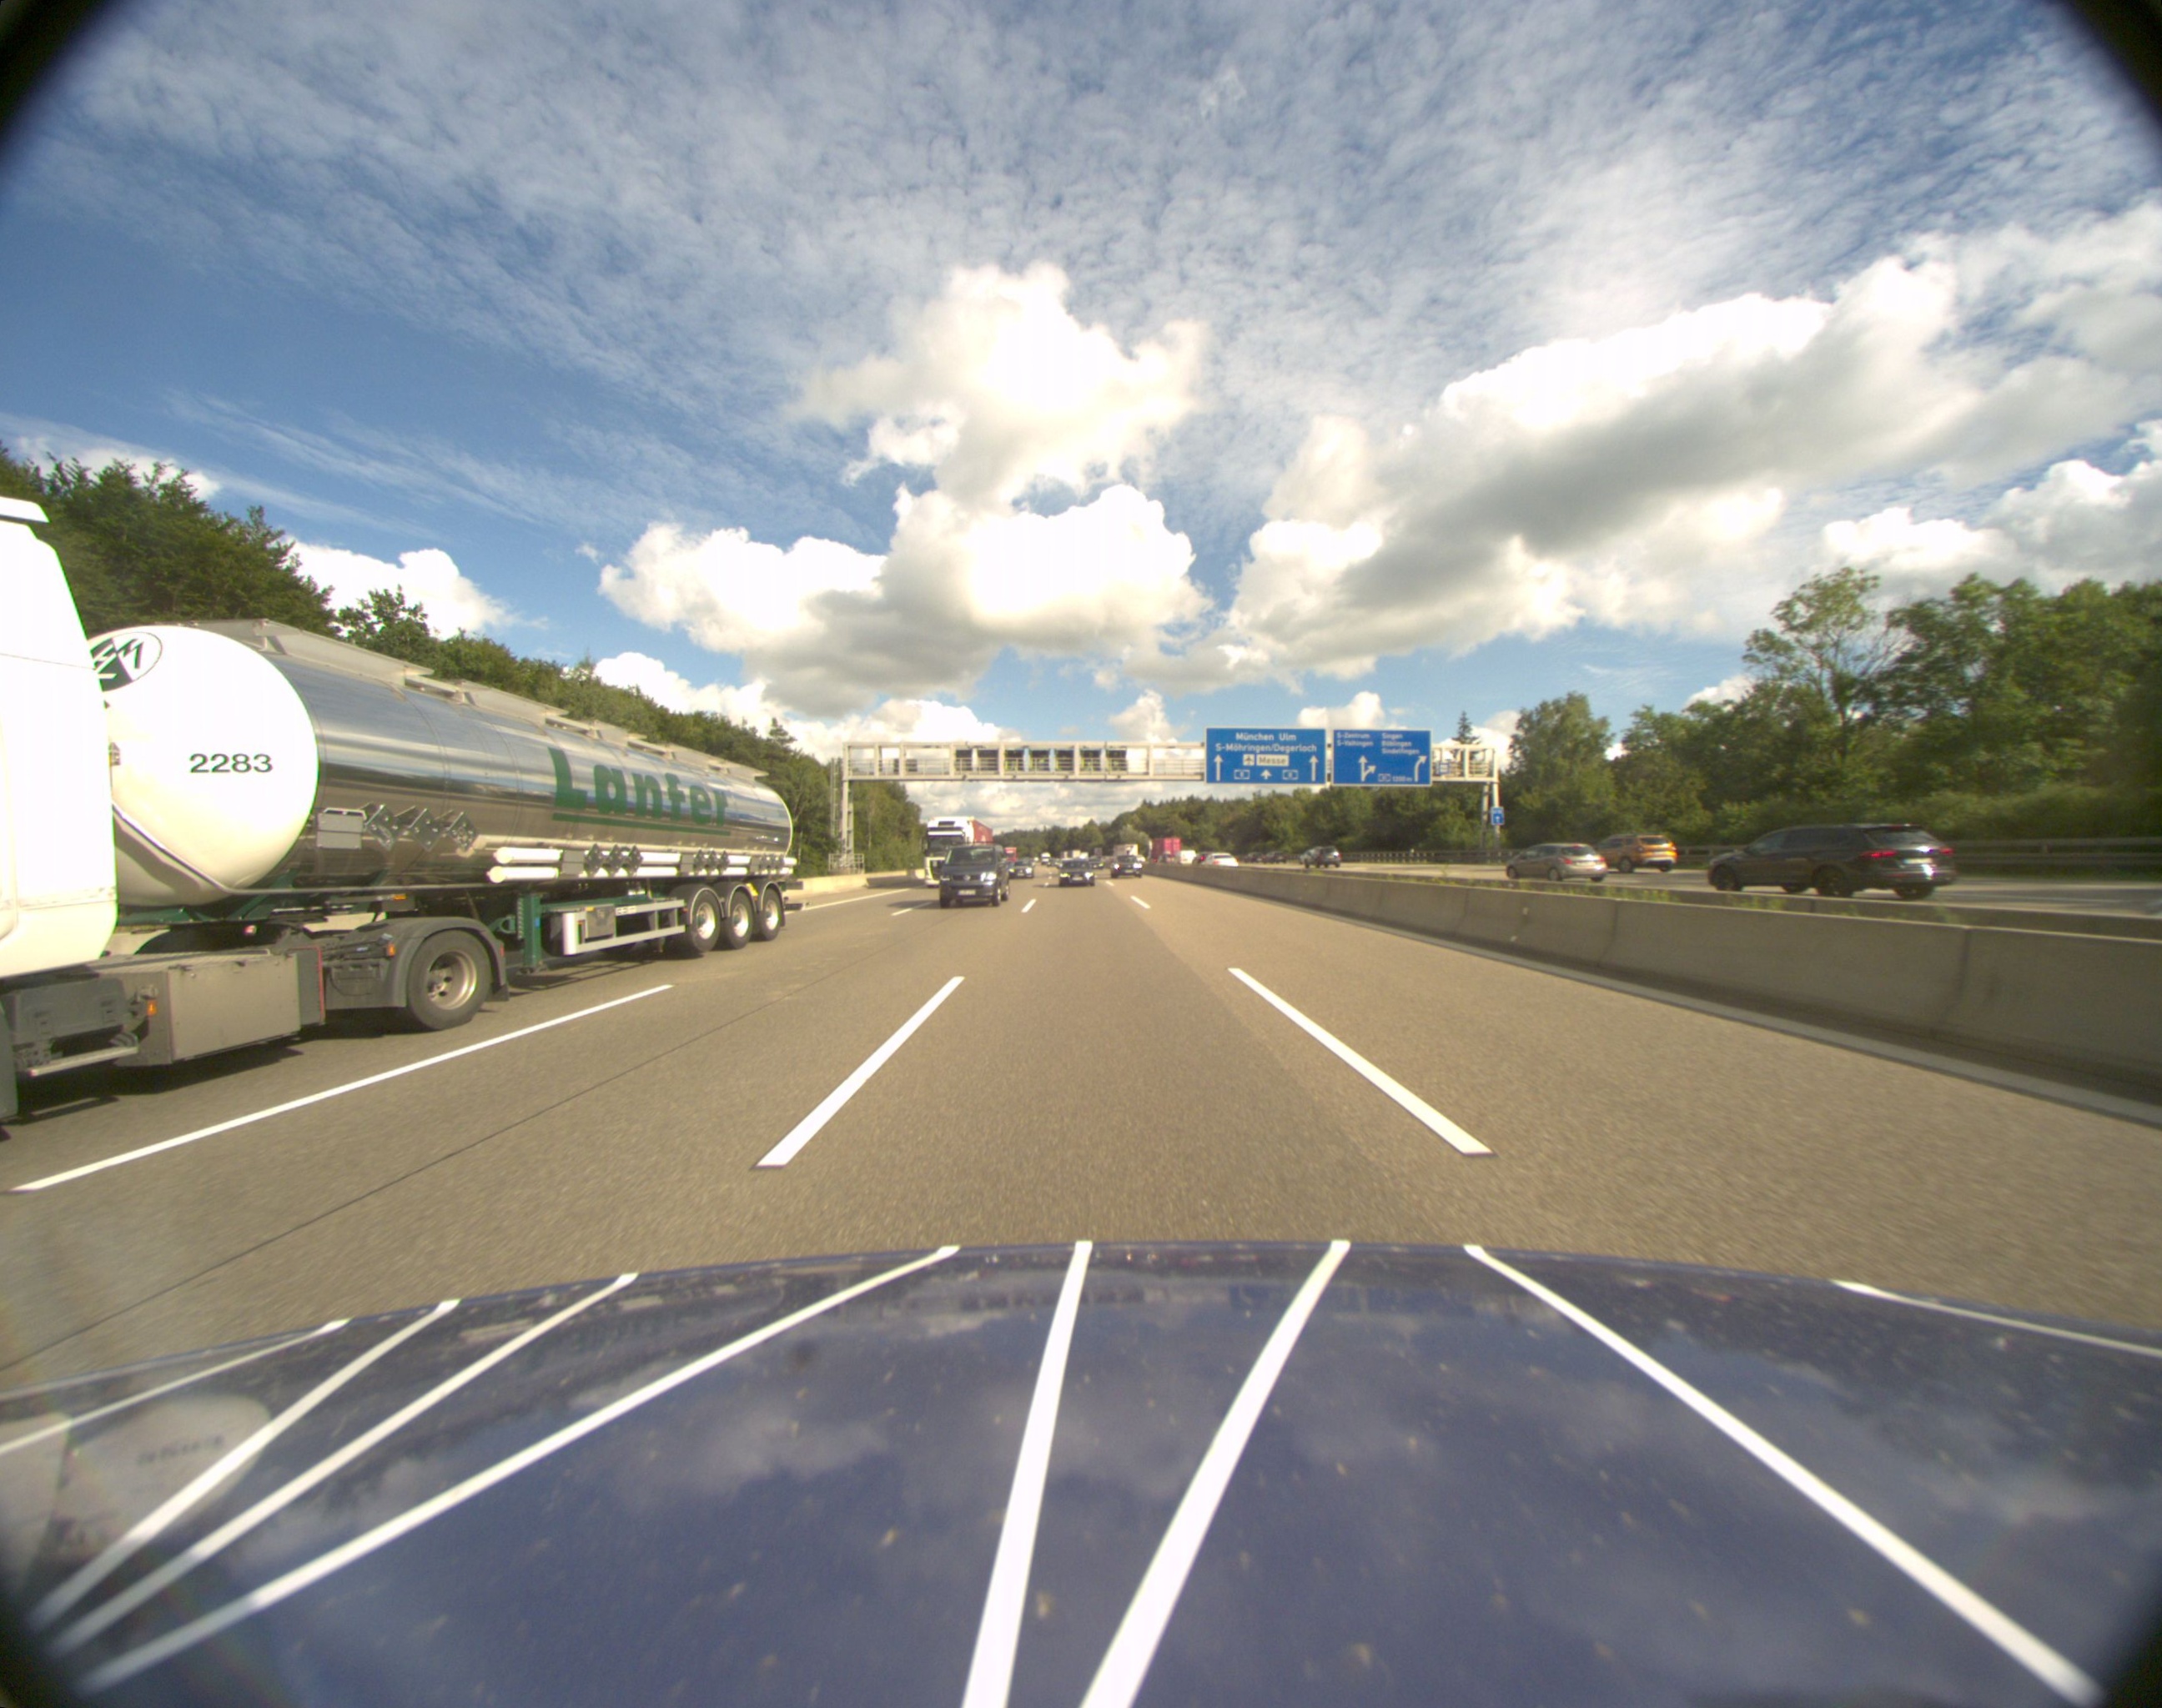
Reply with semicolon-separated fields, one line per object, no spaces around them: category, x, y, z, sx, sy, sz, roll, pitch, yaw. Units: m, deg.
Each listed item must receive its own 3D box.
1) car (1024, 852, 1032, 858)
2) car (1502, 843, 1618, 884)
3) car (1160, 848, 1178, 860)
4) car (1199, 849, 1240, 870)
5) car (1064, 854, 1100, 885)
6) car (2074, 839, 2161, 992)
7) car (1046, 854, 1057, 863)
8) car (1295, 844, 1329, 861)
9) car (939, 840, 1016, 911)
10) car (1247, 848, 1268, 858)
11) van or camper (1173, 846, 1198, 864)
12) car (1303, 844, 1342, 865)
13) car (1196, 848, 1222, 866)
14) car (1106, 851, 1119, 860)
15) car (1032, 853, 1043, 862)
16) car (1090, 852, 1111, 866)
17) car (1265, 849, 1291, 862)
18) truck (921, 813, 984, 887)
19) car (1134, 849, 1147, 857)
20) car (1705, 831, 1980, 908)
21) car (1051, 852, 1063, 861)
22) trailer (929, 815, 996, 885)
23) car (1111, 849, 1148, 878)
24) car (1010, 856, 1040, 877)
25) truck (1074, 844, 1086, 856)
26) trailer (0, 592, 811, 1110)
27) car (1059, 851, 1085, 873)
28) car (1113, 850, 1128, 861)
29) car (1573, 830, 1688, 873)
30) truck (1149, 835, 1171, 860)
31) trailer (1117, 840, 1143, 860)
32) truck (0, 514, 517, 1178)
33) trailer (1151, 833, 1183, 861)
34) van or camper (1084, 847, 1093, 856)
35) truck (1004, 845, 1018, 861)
car;-15.608;0.320;221.699;2.154;1.806;4.674;-2;0;-6
car;17.465;0.301;27.951;1.641;1.346;3.999;-2;0;-1
car;11.529;0.034;100.144;1.703;1.519;4.683;-2;0;-2
car;9.495;0.363;52.343;1.728;1.302;4.880;-2;0;-2
car;-0.006;0.778;40.024;1.733;1.500;4.727;-2;0;-1
car;10.314;0.511;4.707;1.998;1.301;4.832;-2;0;0
car;-6.582;0.972;170.861;2.154;1.806;4.674;-2;0;-6
car;23.697;-0.151;78.042;1.821;1.536;5.130;-2;0;-1
car;-3.370;0.646;25.721;1.854;2.097;4.932;-2;0;0
car;23.126;-0.118;99.708;1.706;1.280;4.182;-2;0;-2
van or camper;11.775;0.124;85.982;1.867;1.839;5.153;-2;0;-3
car;19.263;0.024;60.815;1.670;1.630;4.479;-2;0;1
car;12.466;0.276;74.352;1.703;1.620;4.498;-2;0;-1
car;5.392;0.243;130.825;1.798;1.367;4.547;-2;0;-4
car;-8.237;0.636;143.583;2.153;1.540;4.675;-2;0;-4
car;2.295;0.516;89.799;2.153;1.540;4.676;-2;0;-2
car;23.009;0.122;88.925;1.706;1.432;4.706;-2;0;-2
truck;-7.461;-0.228;44.811;2.781;4.021;5.771;-2;0;-2
car;11.609;-0.199;149.139;1.799;1.608;5.043;-2;0;-4
car;16.965;0.290;17.348;1.725;1.470;4.630;-2;0;2
car;-4.322;0.453;137.362;2.153;1.540;4.676;-2;0;-2
trailer;-7.735;-0.259;51.421;2.781;4.021;13.710;-2;0;-2
car;3.223;0.581;51.663;2.153;1.800;5.098;-2;1;0
car;-4.313;0.940;58.883;2.153;1.426;5.097;-2;0;-3
truck;-0.356;-1.399;267.299;2.827;4.070;13.838;-2;0;-5
trailer;-7.547;-0.007;11.457;2.655;3.745;11.859;-1;0;0
car;-0.850;0.665;69.064;2.153;1.800;5.097;-2;1;-2
car;6.116;0.163;117.368;1.774;1.639;4.518;-2;0;-2
car;24.084;-0.121;33.559;1.933;1.706;4.423;-2;0;2
truck;13.172;-1.058;127.375;2.747;4.083;5.762;-2;0;-3
trailer;10.765;-0.853;169.028;3.327;4.082;14.147;-2;0;-5
truck;-7.520;-0.032;5.225;2.655;3.801;6.081;-1;0;0
trailer;13.537;-1.056;120.634;2.747;4.082;13.412;-2;0;-3
van or camper;2.411;-0.724;244.581;2.374;2.789;6.595;-2;0;-4
truck;-15.945;-0.206;172.533;3.019;3.662;7.557;-1;0;-6
